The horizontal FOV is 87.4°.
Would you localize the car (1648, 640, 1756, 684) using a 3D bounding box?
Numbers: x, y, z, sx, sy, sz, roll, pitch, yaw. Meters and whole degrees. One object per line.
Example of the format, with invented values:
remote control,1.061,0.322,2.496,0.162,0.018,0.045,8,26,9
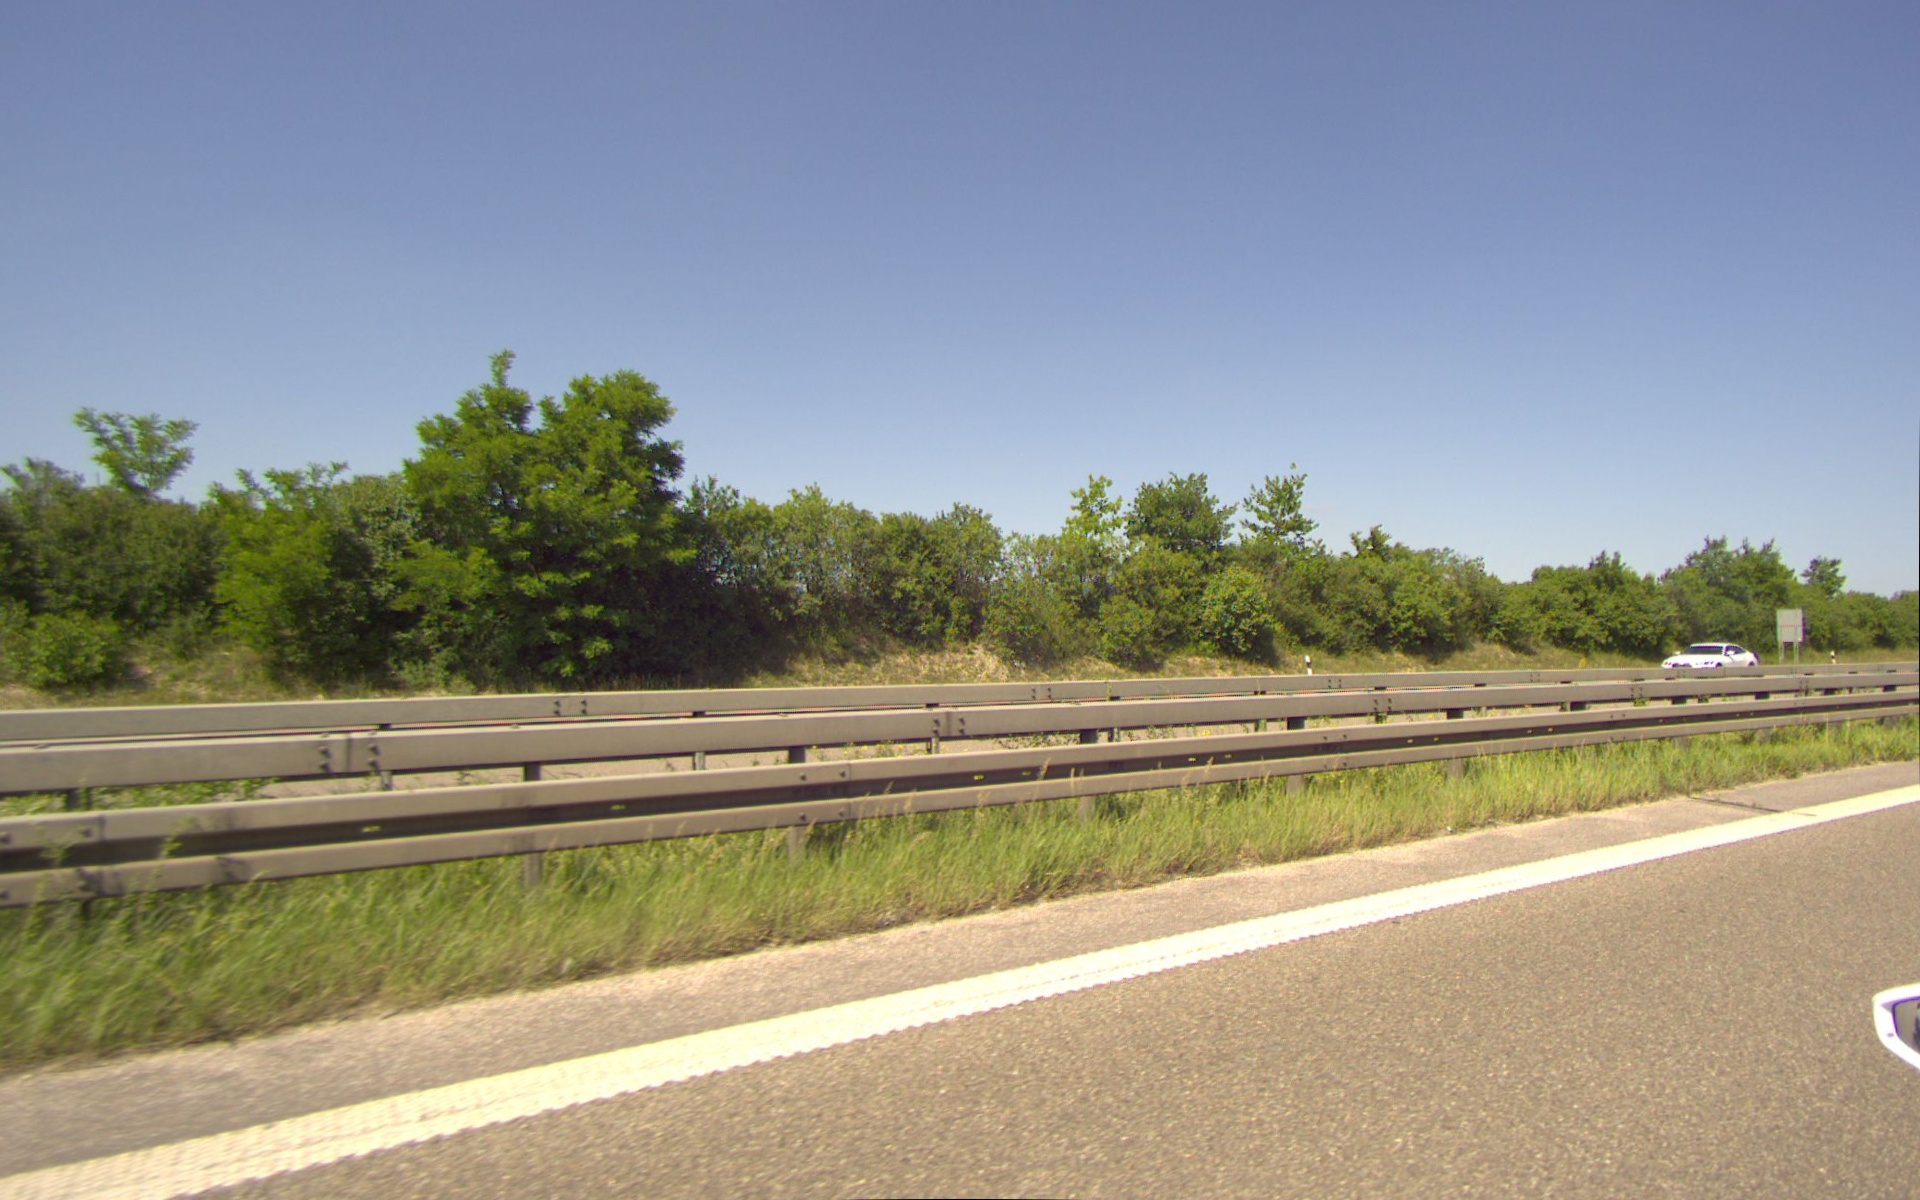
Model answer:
car,29.678,2.449,40.153,4.250,1.614,1.984,1,-1,-30
